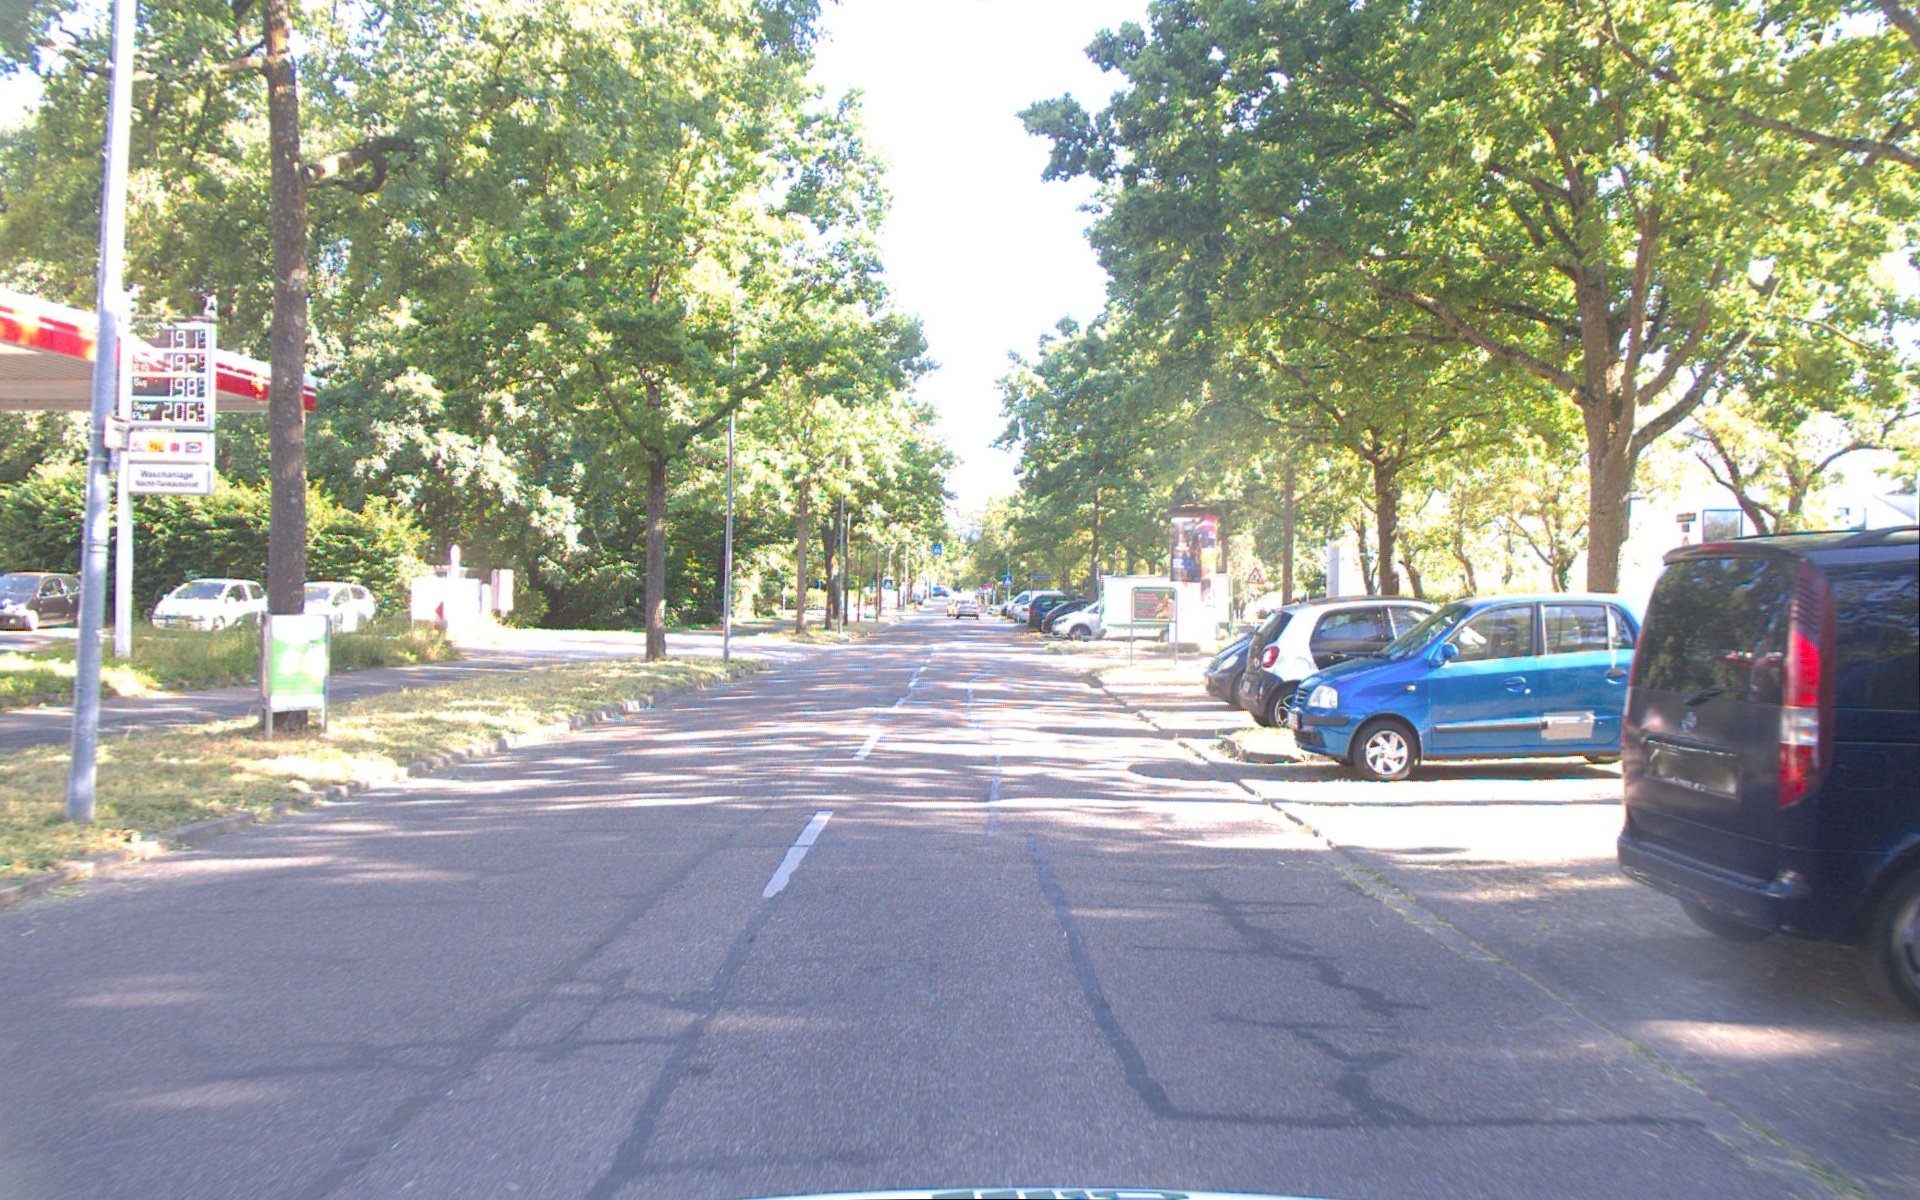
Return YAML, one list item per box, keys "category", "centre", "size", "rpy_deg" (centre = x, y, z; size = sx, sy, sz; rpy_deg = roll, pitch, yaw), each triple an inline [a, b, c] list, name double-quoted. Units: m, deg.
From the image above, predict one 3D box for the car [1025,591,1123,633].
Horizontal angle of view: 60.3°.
- category: "car"
  centre: [5.243, 0.549, 76.471]
  size: [4.437, 1.832, 1.936]
  rpy_deg: [-1, 0, 0]

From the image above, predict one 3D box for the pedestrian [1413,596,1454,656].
- category: "pedestrian"
  centre: [12.266, 0.659, 42.836]
  size: [0.865, 1.526, 0.942]
  rpy_deg: [-1, 0, 27]

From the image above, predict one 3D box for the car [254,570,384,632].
- category: "car"
  centre: [-16.255, 0.020, 42.087]
  size: [1.513, 1.447, 3.489]
  rpy_deg: [2, 0, 8]

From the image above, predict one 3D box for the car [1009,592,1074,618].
- category: "car"
  centre: [5.566, 0.361, 113.562]
  size: [4.296, 1.680, 1.850]
  rpy_deg: [-1, 0, -2]

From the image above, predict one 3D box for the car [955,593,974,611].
- category: "car"
  centre: [0.464, 0.198, 179.812]
  size: [1.953, 1.966, 3.999]
  rpy_deg: [1, 0, -1]

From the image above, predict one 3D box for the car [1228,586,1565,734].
- category: "car"
  centre: [5.047, 0.681, 19.476]
  size: [3.509, 1.604, 1.786]
  rpy_deg: [-1, 0, 1]

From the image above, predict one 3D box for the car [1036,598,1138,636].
- category: "car"
  centre: [5.331, 0.716, 69.666]
  size: [4.157, 1.545, 2.078]
  rpy_deg: [-1, 0, 1]

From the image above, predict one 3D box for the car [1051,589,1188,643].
- category: "car"
  centre: [5.455, 0.530, 56.940]
  size: [4.546, 1.752, 1.988]
  rpy_deg: [-1, 0, 1]

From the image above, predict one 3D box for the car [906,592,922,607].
- category: "car"
  centre: [-5.735, -0.038, 206.729]
  size: [1.953, 1.746, 3.999]
  rpy_deg: [1, 0, -1]

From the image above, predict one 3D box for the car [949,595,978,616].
- category: "car"
  centre: [0.251, 0.422, 120.982]
  size: [1.953, 1.510, 3.999]
  rpy_deg: [1, 0, -2]

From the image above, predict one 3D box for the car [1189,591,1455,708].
- category: "car"
  centre: [5.282, 0.704, 24.473]
  size: [3.510, 1.604, 1.857]
  rpy_deg: [-1, 0, -1]

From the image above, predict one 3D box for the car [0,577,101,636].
- category: "car"
  centre: [-23.341, 0.147, 41.661]
  size: [1.392, 1.391, 3.207]
  rpy_deg: [2, 0, 8]

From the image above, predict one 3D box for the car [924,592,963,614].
- category: "car"
  centre: [-1.320, 0.217, 130.258]
  size: [1.962, 1.684, 3.981]
  rpy_deg: [1, 0, -17]

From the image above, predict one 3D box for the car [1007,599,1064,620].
- category: "car"
  centre: [5.278, 0.649, 116.049]
  size: [3.904, 1.458, 1.901]
  rpy_deg: [1, 0, 1]

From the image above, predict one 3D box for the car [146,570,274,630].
- category: "car"
  centre: [-18.820, 0.003, 41.622]
  size: [1.392, 1.391, 3.207]
  rpy_deg: [2, 0, 8]

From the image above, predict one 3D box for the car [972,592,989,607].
- category: "car"
  centre: [2.470, -0.043, 200.638]
  size: [1.953, 1.746, 3.999]
  rpy_deg: [1, 0, -1]

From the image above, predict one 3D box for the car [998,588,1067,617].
- category: "car"
  centre: [5.415, 0.184, 123.873]
  size: [5.082, 2.142, 2.082]
  rpy_deg: [0, 0, -2]

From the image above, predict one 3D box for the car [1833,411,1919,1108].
- category: "car"
  centre: [5.196, 0.459, 4.425]
  size: [4.705, 2.067, 1.944]
  rpy_deg: [0, 0, -1]

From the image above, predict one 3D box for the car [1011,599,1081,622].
- category: "car"
  centre: [5.487, 0.662, 105.956]
  size: [4.354, 1.414, 1.911]
  rpy_deg: [0, 0, 0]

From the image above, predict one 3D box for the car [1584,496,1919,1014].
- category: "car"
  centre: [4.957, 0.534, 6.997]
  size: [3.928, 1.869, 1.798]
  rpy_deg: [-1, 0, -3]

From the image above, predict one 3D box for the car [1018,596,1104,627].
- category: "car"
  centre: [5.517, 0.644, 90.794]
  size: [4.574, 1.608, 1.917]
  rpy_deg: [-1, 0, 0]

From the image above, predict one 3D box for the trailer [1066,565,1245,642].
- category: "trailer"
  centre: [6.341, 0.110, 54.111]
  size: [5.654, 2.358, 1.686]
  rpy_deg: [-1, 0, 2]

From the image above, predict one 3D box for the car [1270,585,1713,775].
- category: "car"
  centre: [4.662, 0.682, 14.864]
  size: [3.448, 1.559, 1.665]
  rpy_deg: [-1, 0, 1]
